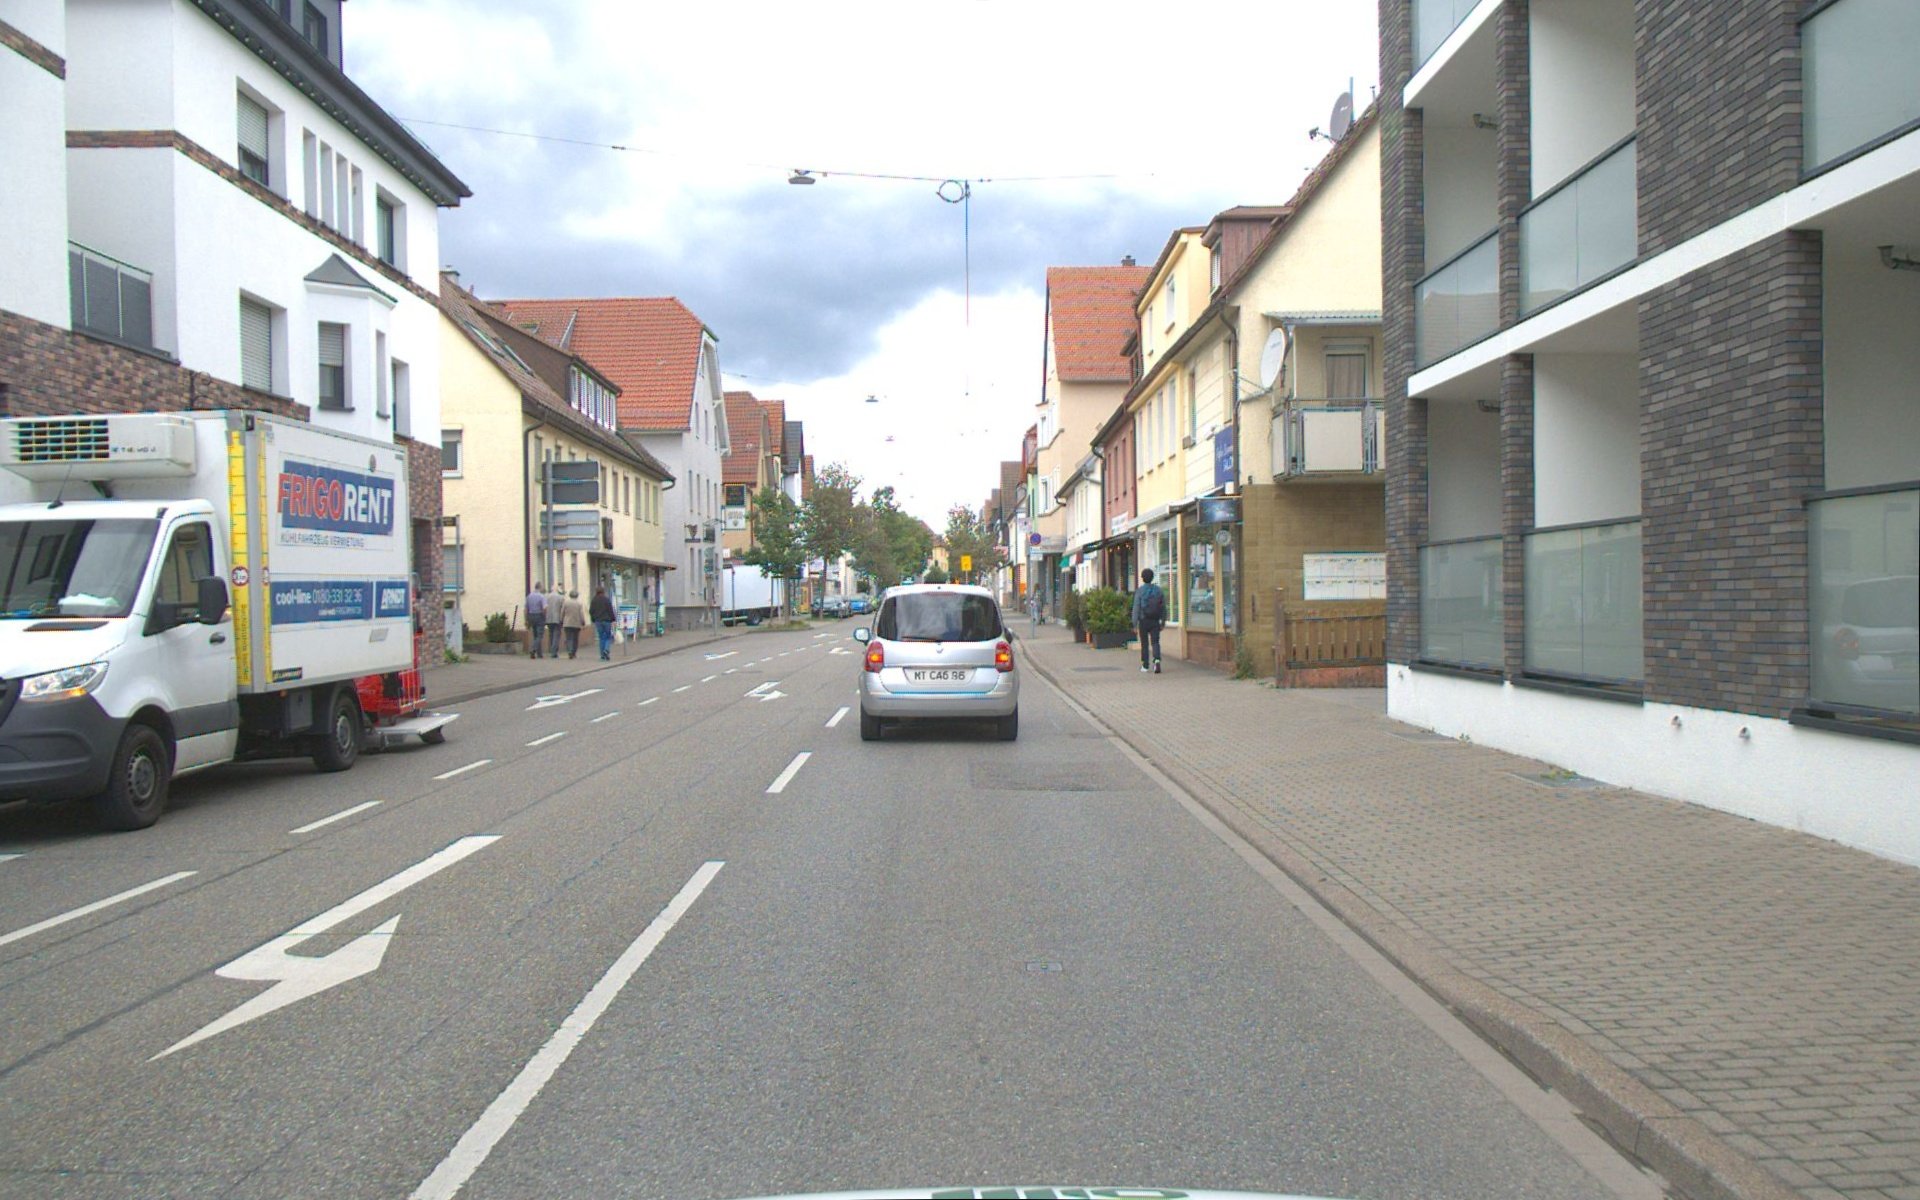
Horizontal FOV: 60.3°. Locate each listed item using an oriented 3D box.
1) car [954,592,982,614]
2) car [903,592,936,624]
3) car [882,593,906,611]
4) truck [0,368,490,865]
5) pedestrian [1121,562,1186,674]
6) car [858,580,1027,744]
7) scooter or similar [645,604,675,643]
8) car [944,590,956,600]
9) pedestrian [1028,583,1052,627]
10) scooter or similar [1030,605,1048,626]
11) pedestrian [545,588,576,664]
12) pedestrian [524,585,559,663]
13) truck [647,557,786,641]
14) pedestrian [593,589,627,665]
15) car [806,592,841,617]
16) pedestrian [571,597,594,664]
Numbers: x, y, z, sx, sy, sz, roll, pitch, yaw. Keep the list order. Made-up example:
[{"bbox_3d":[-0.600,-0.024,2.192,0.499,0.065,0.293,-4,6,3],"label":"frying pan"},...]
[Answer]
[{"bbox_3d":[0.516,0.197,111.507,1.776,1.377,4.000,-2,0,-1],"label":"car"},{"bbox_3d":[-2.088,0.397,85.671,1.672,1.606,3.999,0,0,-2],"label":"car"},{"bbox_3d":[-5.323,0.140,133.222,1.776,1.377,3.857,-2,0,-1],"label":"car"},{"bbox_3d":[-6.381,0.105,14.235,2.386,3.005,8.362,-2,0,-1],"label":"truck"},{"bbox_3d":[3.292,0.304,28.171,0.871,1.817,0.785,-4,0,-1],"label":"pedestrian"},{"bbox_3d":[-0.221,0.600,18.288,1.672,1.606,3.999,0,0,-2],"label":"car"},{"bbox_3d":[-10.589,0.830,58.407,0.564,1.291,2.548,-2,0,-1],"label":"scooter or similar"},{"bbox_3d":[-1.508,-0.757,256.246,1.776,1.377,4.000,-2,0,-1],"label":"car"},{"bbox_3d":[3.420,0.214,70.952,0.871,1.817,0.785,-4,0,-1],"label":"pedestrian"},{"bbox_3d":[3.440,0.682,71.773,0.666,0.847,0.822,-5,0,-1],"label":"scooter or similar"},{"bbox_3d":[-9.506,0.613,39.328,0.567,1.787,0.687,0,0,-1],"label":"pedestrian"},{"bbox_3d":[-9.647,0.541,38.182,0.634,1.787,0.687,0,0,-1],"label":"pedestrian"},{"bbox_3d":[-12.193,-0.112,83.429,2.557,3.924,6.810,-2,1,41],"label":"truck"},{"bbox_3d":[-8.232,0.628,38.940,0.649,1.787,0.687,0,0,-1],"label":"pedestrian"},{"bbox_3d":[-8.307,0.275,100.979,1.776,1.377,4.000,-2,0,-1],"label":"car"},{"bbox_3d":[-8.944,0.719,39.173,0.417,1.552,0.553,0,0,-1],"label":"pedestrian"}]
